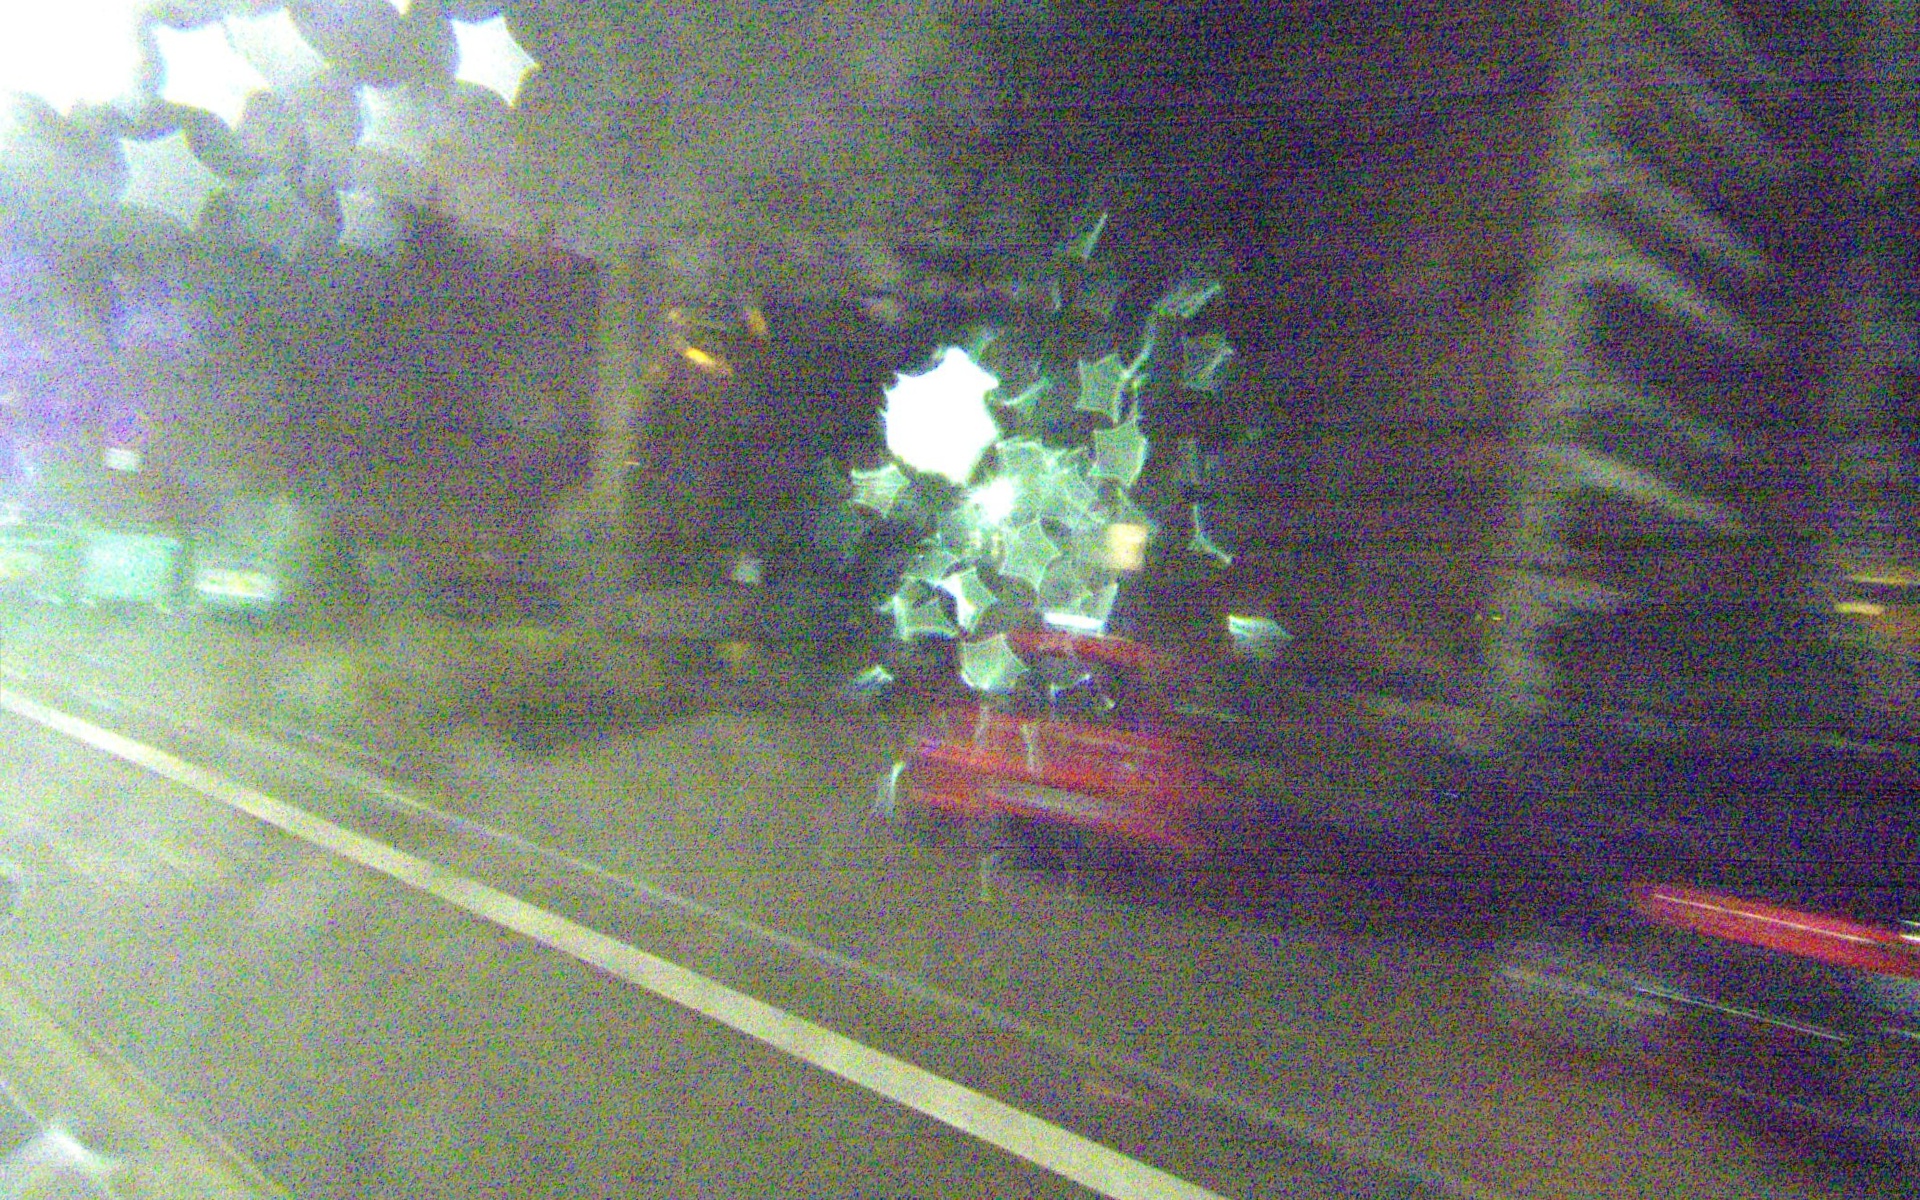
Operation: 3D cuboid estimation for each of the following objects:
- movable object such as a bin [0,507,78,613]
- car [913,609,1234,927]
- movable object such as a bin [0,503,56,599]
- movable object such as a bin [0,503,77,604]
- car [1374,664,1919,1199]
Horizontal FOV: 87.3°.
[{"bbox_3d":[-13.734,-0.605,14.348,1.139,1.426,1.324,6,1,26],"label":"movable object such as a bin"},{"bbox_3d":[1.022,0.964,7.404,1.627,1.537,3.706,7,0,13],"label":"car"},{"bbox_3d":[-15.404,-0.827,15.930,1.056,1.440,1.368,6,1,37],"label":"movable object such as a bin"},{"bbox_3d":[-14.455,-0.734,15.349,1.084,1.440,1.207,6,1,37],"label":"movable object such as a bin"},{"bbox_3d":[3.591,1.265,5.097,1.805,1.494,4.601,7,0,12],"label":"car"}]
